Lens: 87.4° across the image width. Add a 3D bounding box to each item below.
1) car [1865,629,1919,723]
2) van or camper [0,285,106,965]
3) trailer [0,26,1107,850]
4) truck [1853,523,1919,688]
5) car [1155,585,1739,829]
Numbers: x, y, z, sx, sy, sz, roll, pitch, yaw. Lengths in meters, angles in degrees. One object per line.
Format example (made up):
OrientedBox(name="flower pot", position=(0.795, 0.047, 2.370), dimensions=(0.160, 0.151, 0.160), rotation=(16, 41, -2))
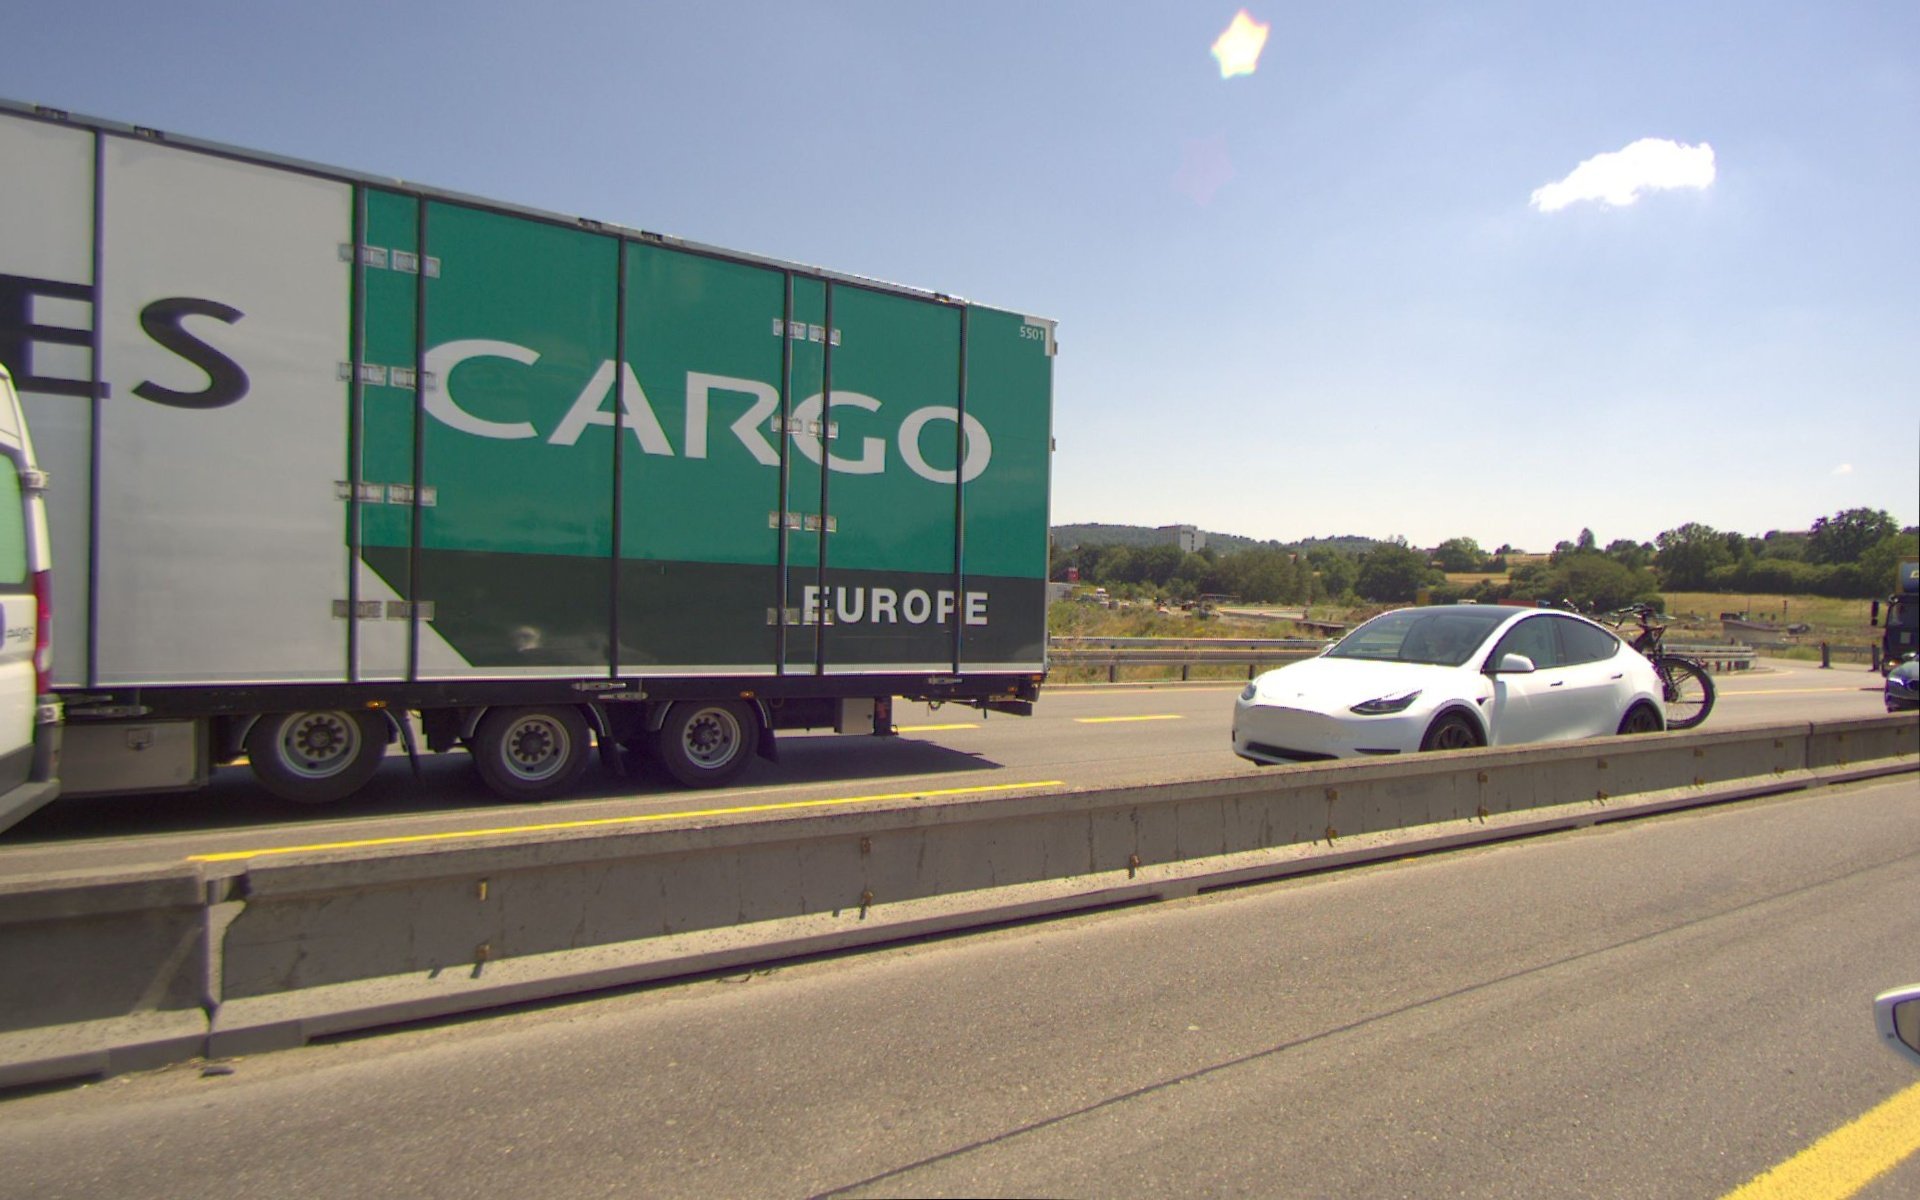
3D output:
OrientedBox(name="car", position=(17.708, 1.270, 17.227), dimensions=(5.067, 1.451, 1.872), rotation=(0, 2, -32))
OrientedBox(name="van or camper", position=(-6.646, 0.065, 2.581), dimensions=(6.459, 2.545, 2.207), rotation=(0, 2, -32))
OrientedBox(name="trailer", position=(-4.944, -0.851, 7.282), dimensions=(13.015, 4.489, 2.801), rotation=(2, -1, -31))
OrientedBox(name="truck", position=(28.799, 0.278, 28.194), dimensions=(9.967, 4.208, 2.787), rotation=(2, 0, -32))
OrientedBox(name="car", position=(4.859, 0.775, 9.753), dimensions=(5.714, 1.749, 2.359), rotation=(0, 1, -31))
